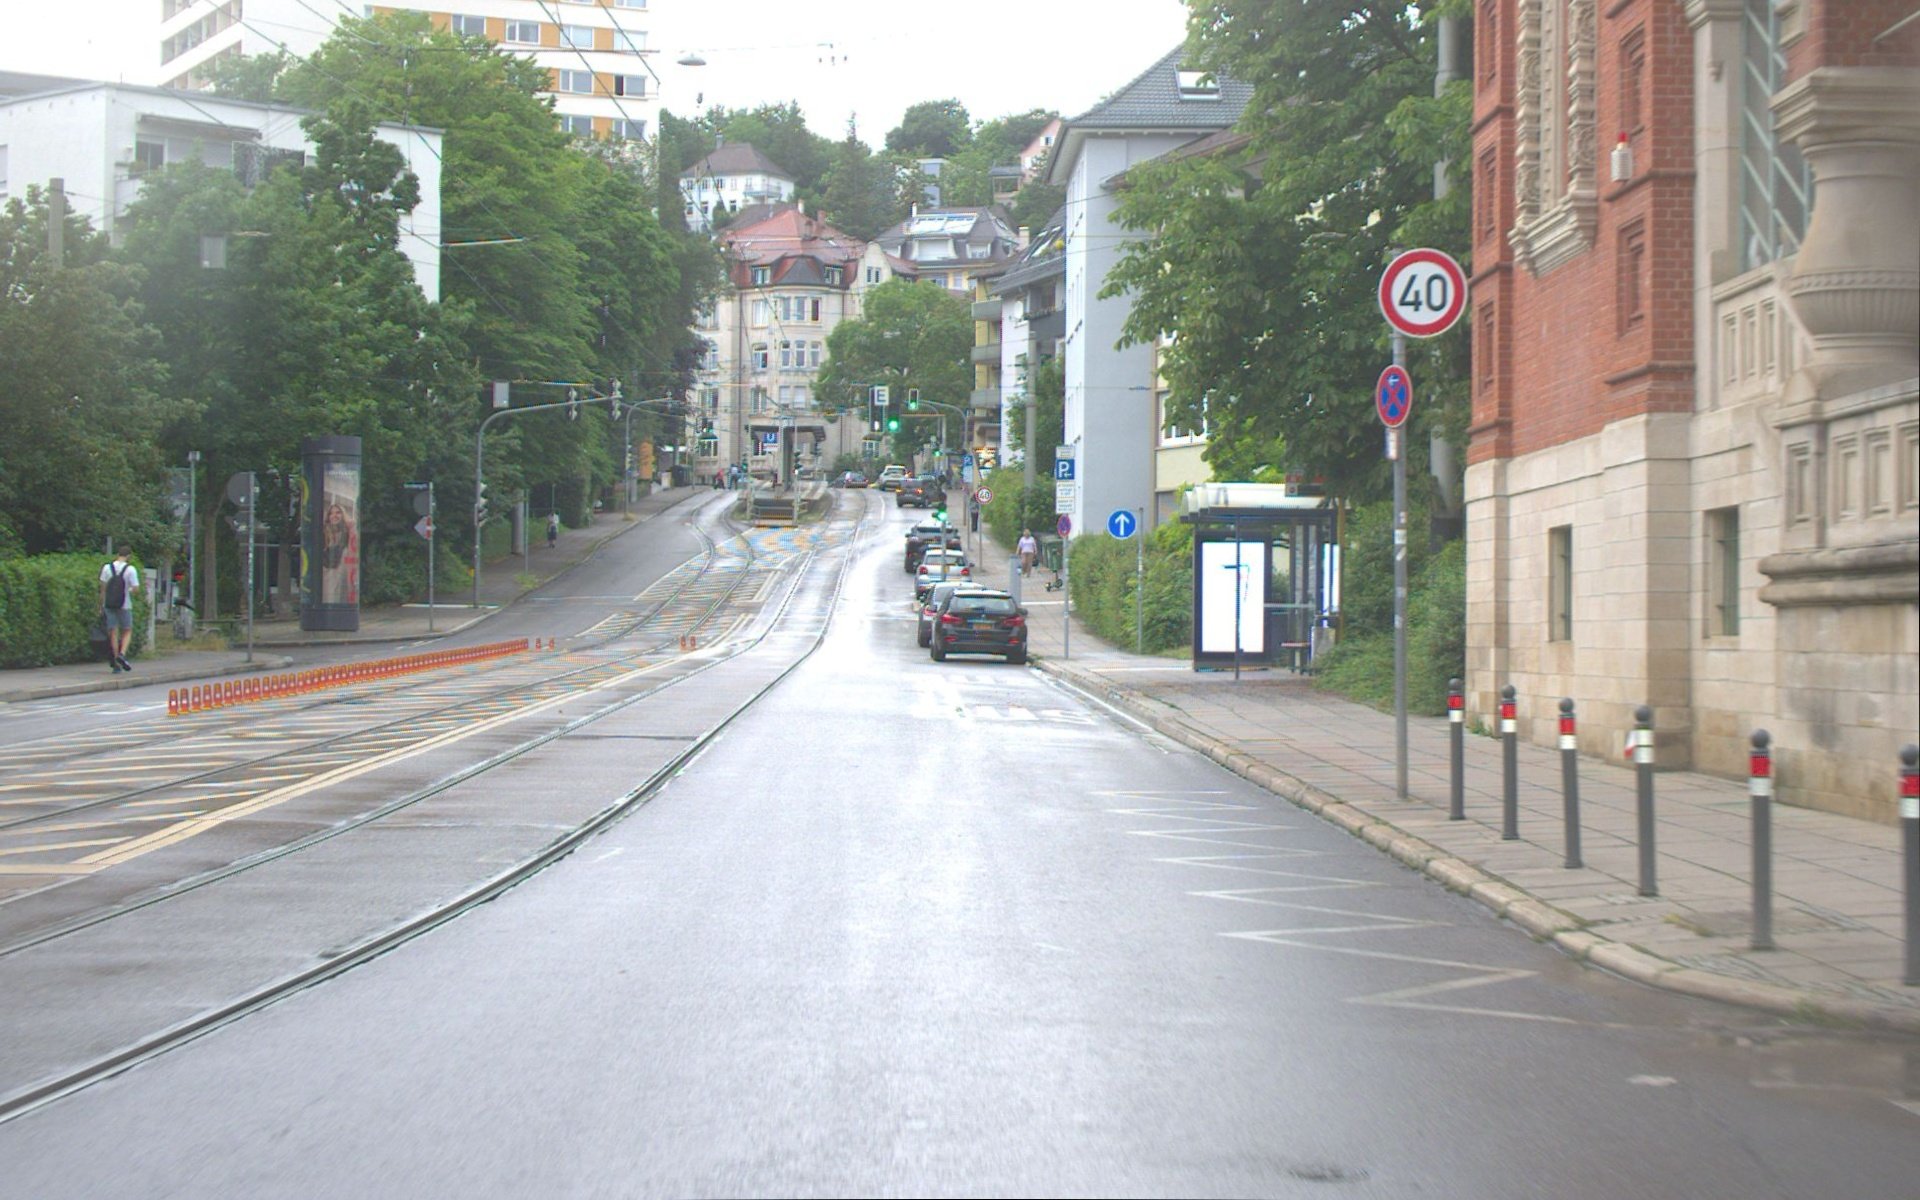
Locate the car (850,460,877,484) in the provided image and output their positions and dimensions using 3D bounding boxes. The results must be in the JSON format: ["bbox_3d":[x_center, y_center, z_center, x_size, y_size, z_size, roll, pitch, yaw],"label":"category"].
[{"bbox_3d":[-7.191,-9.585,256.976,1.906,1.636,4.690,2,2,-2],"label":"car"}]

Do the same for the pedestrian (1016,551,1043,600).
[{"bbox_3d":[2.339,-0.833,115.605,0.882,1.577,0.801,0,4,1],"label":"pedestrian"}]

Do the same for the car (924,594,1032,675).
[{"bbox_3d":[0.325,0.654,67.846,1.857,1.482,4.645,2,0,-2],"label":"car"}]

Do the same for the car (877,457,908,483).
[{"bbox_3d":[-4.519,-8.685,228.929,1.906,1.636,4.690,2,2,-2],"label":"car"}]

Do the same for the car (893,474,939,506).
[{"bbox_3d":[-2.463,-6.222,195.102,1.802,1.640,3.998,2,1,11],"label":"car"}]

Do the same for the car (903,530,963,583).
[{"bbox_3d":[-0.981,-1.544,120.620,1.906,1.636,4.690,2,2,-2],"label":"car"}]

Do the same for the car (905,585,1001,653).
[{"bbox_3d":[-0.191,0.418,79.317,1.939,1.459,4.207,2,0,-3],"label":"car"}]

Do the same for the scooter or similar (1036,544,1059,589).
[{"bbox_3d":[2.680,-1.029,105.022,0.575,1.245,1.610,2,5,4],"label":"scooter or similar"}]

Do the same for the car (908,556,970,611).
[{"bbox_3d":[-0.653,-0.519,104.237,1.704,1.428,4.102,2,2,-2],"label":"car"}]

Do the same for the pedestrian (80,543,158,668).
[{"bbox_3d":[-12.729,0.084,52.075,0.918,1.840,1.017,3,-1,-5],"label":"pedestrian"}]

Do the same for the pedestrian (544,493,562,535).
[{"bbox_3d":[-15.898,-3.379,134.429,0.583,1.594,0.869,3,1,-5],"label":"pedestrian"}]
